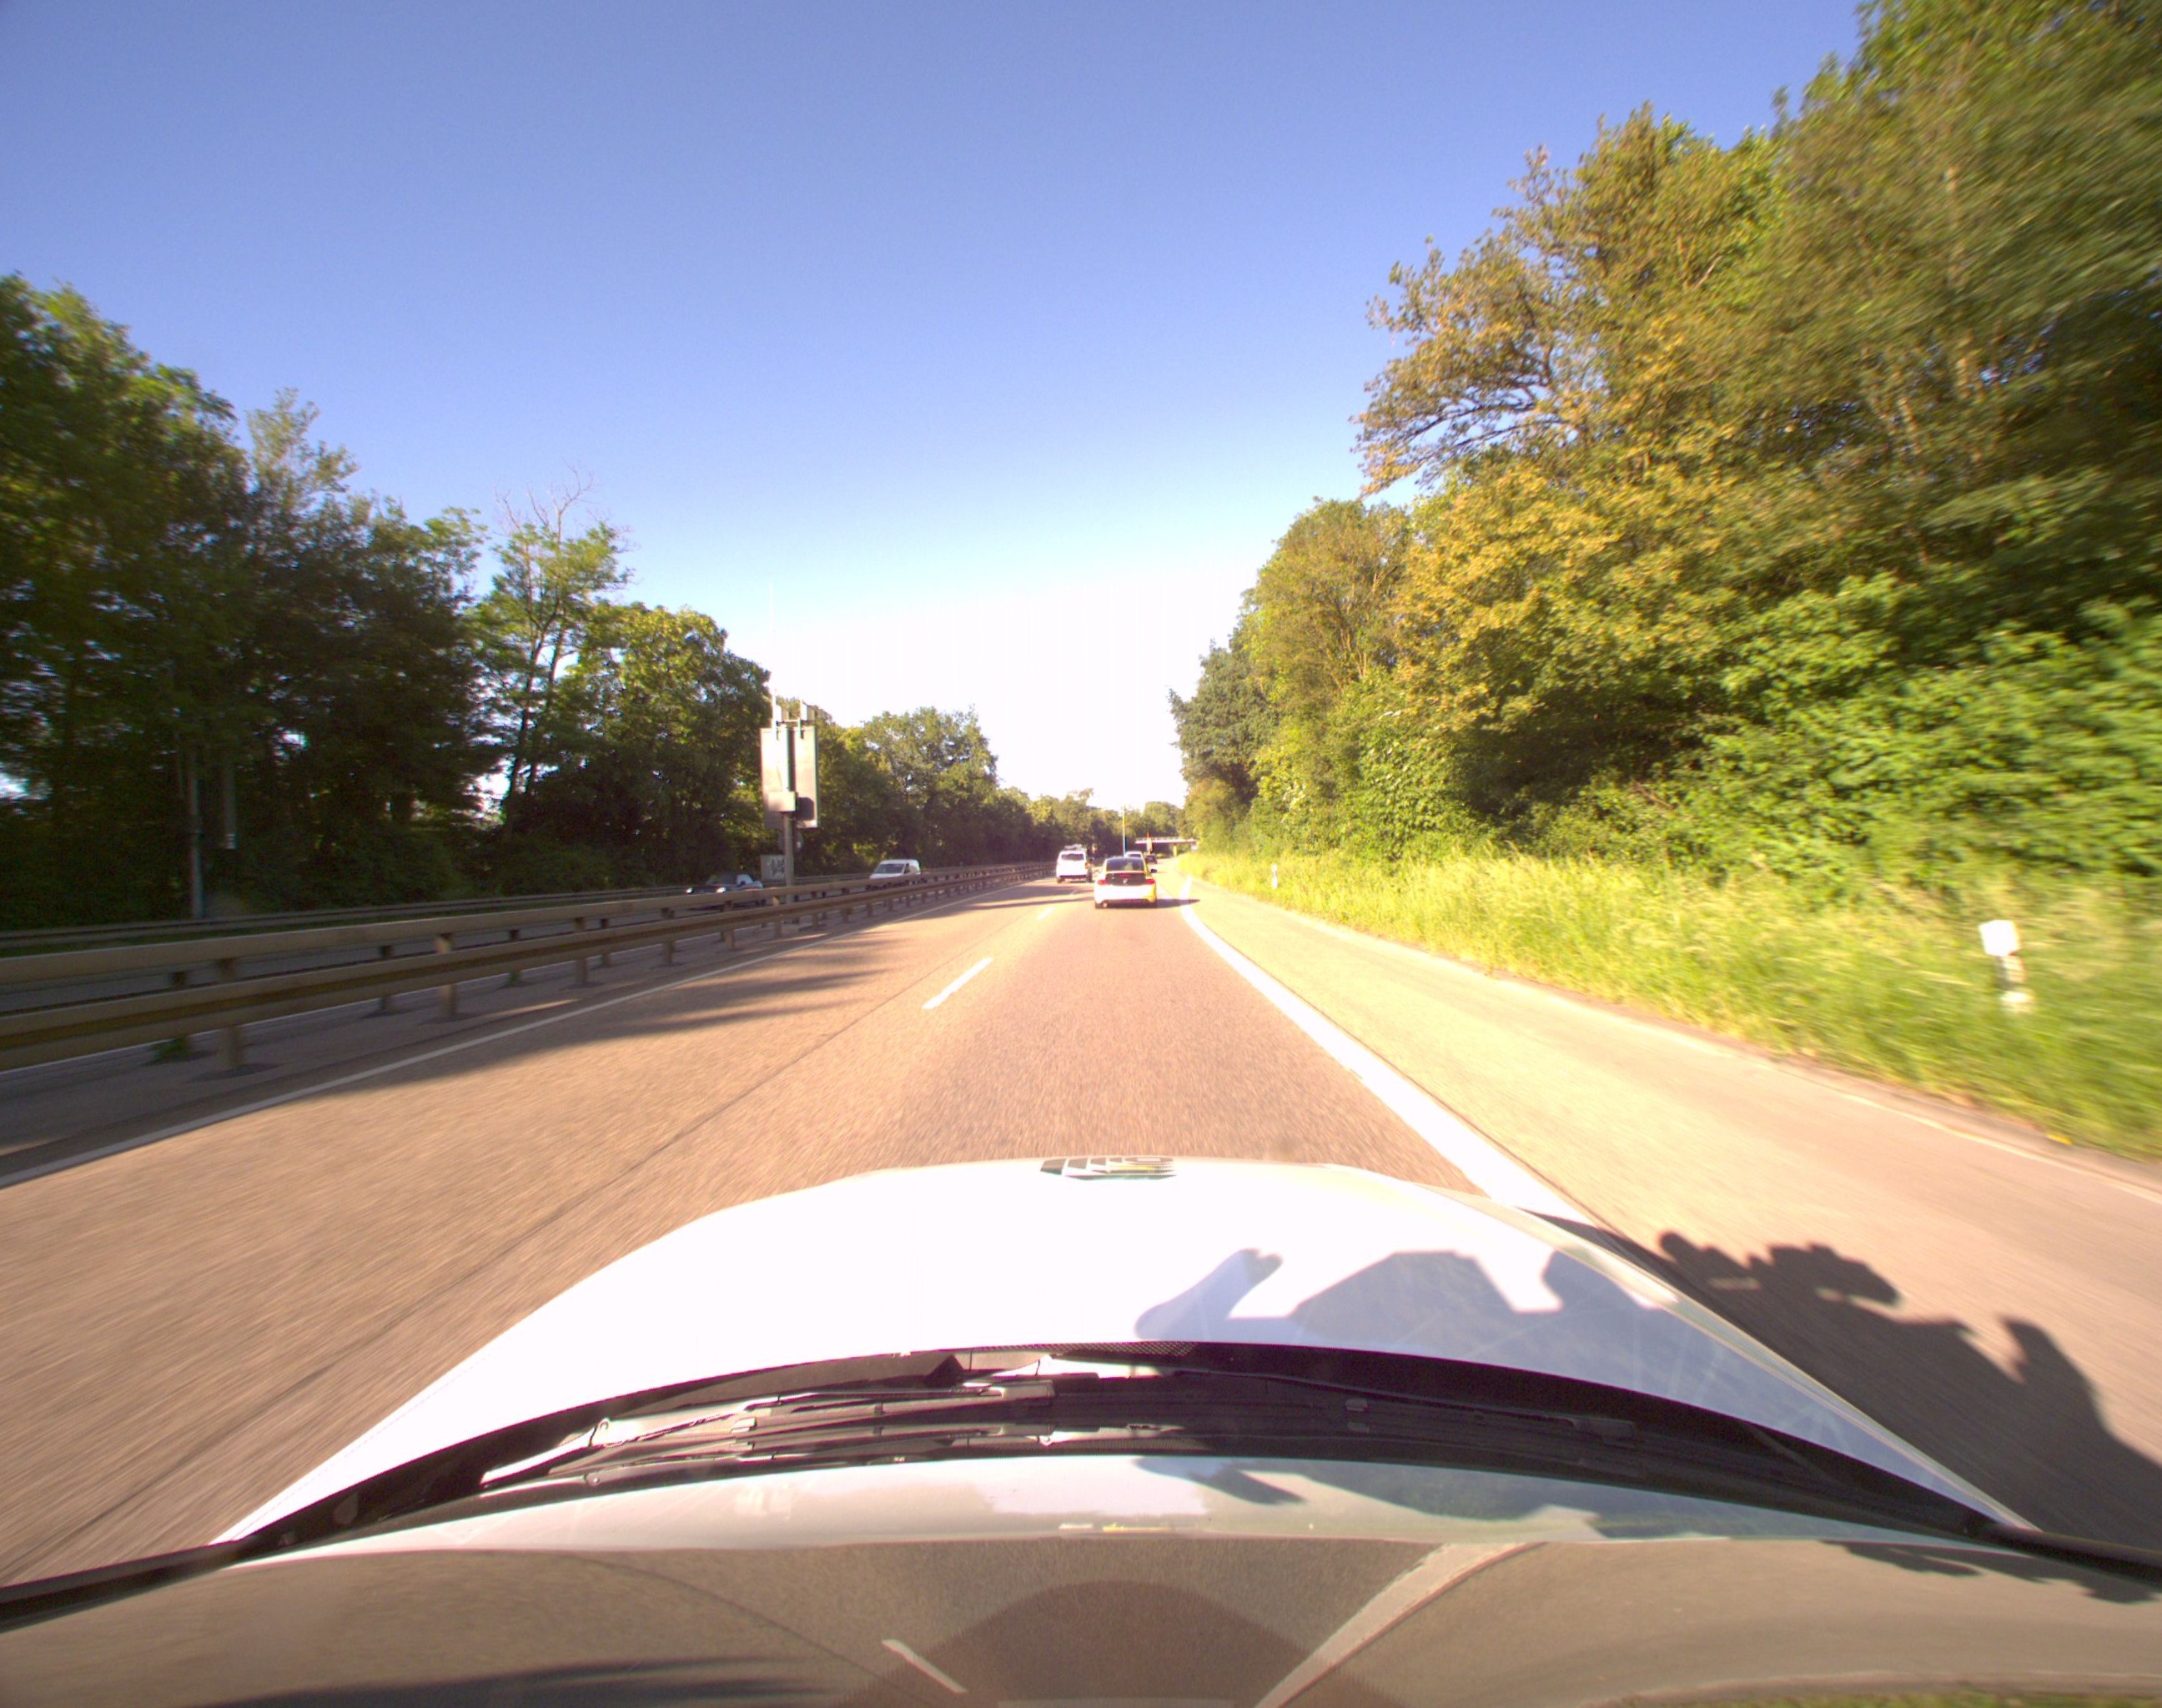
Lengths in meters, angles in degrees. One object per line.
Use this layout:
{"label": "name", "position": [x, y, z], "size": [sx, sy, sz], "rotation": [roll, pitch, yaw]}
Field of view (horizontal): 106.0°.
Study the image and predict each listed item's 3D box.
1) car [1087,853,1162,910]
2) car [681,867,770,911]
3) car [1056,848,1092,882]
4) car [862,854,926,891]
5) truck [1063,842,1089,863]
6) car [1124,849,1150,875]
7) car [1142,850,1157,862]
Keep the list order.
{"label": "car", "position": [1.221, 0.765, 24.274], "size": [1.933, 1.508, 3.421], "rotation": [-1, 0, -1]}
{"label": "car", "position": [-13.916, 1.333, 32.143], "size": [1.591, 1.480, 3.912], "rotation": [-2, 0, 3]}
{"label": "car", "position": [-0.359, 0.595, 45.944], "size": [1.734, 1.830, 3.425], "rotation": [-1, 0, 3]}
{"label": "car", "position": [-10.053, 0.940, 44.202], "size": [1.985, 1.788, 5.032], "rotation": [-3, 0, 3]}
{"label": "truck", "position": [-0.891, -0.302, 153.986], "size": [2.872, 3.520, 11.980], "rotation": [-3, 0, 8]}
{"label": "car", "position": [4.644, 0.616, 68.350], "size": [1.985, 2.013, 4.003], "rotation": [-3, 0, 3]}
{"label": "car", "position": [10.979, 0.312, 131.355], "size": [2.253, 1.875, 5.081], "rotation": [-3, 0, 4]}
